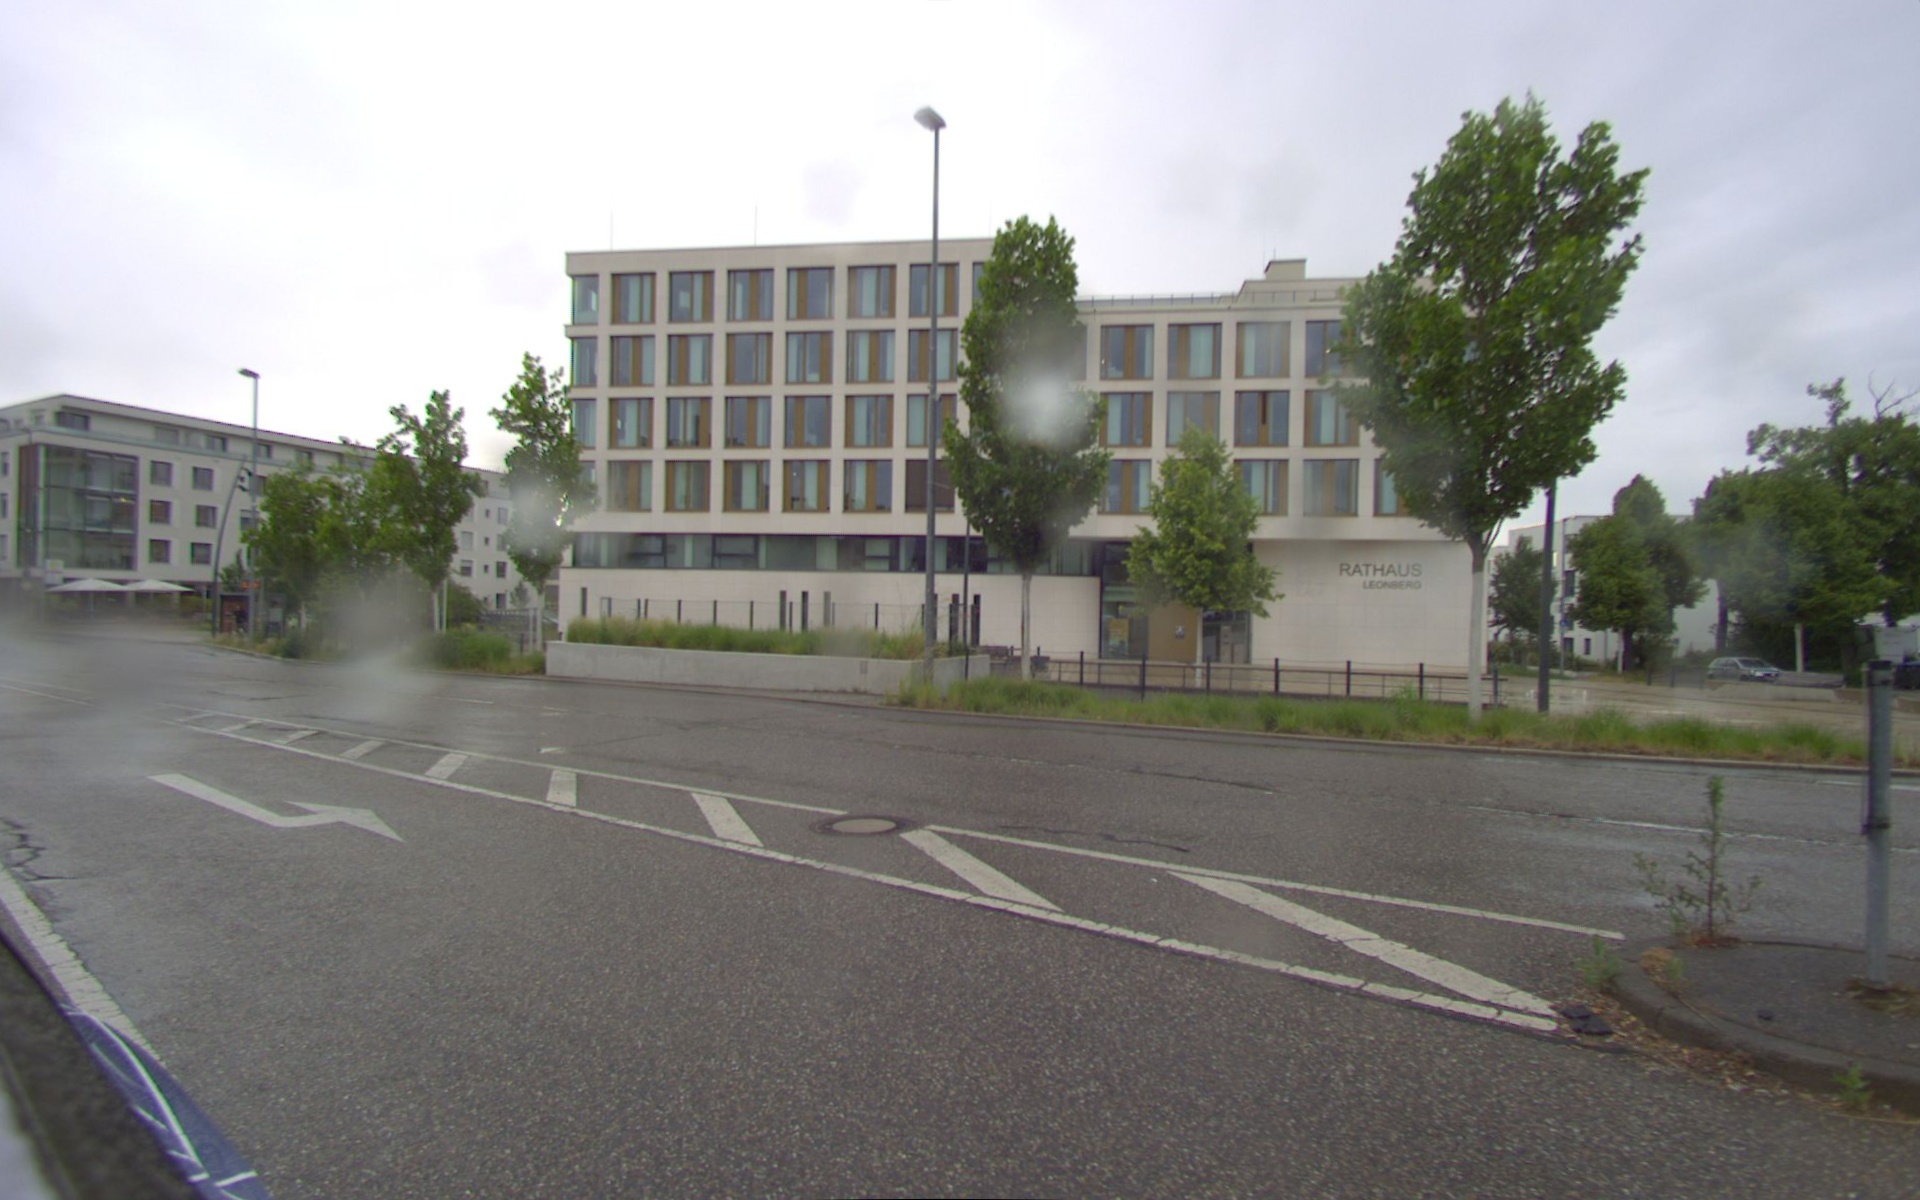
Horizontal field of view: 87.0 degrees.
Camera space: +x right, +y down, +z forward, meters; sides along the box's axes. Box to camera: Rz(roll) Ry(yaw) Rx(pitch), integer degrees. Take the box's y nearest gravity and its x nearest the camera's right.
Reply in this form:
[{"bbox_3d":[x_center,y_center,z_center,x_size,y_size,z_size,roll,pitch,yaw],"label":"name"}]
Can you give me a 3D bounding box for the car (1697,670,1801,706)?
[{"bbox_3d":[36.997,4.117,47.577,1.563,1.478,4.002,0,-2,-3],"label":"car"}]
